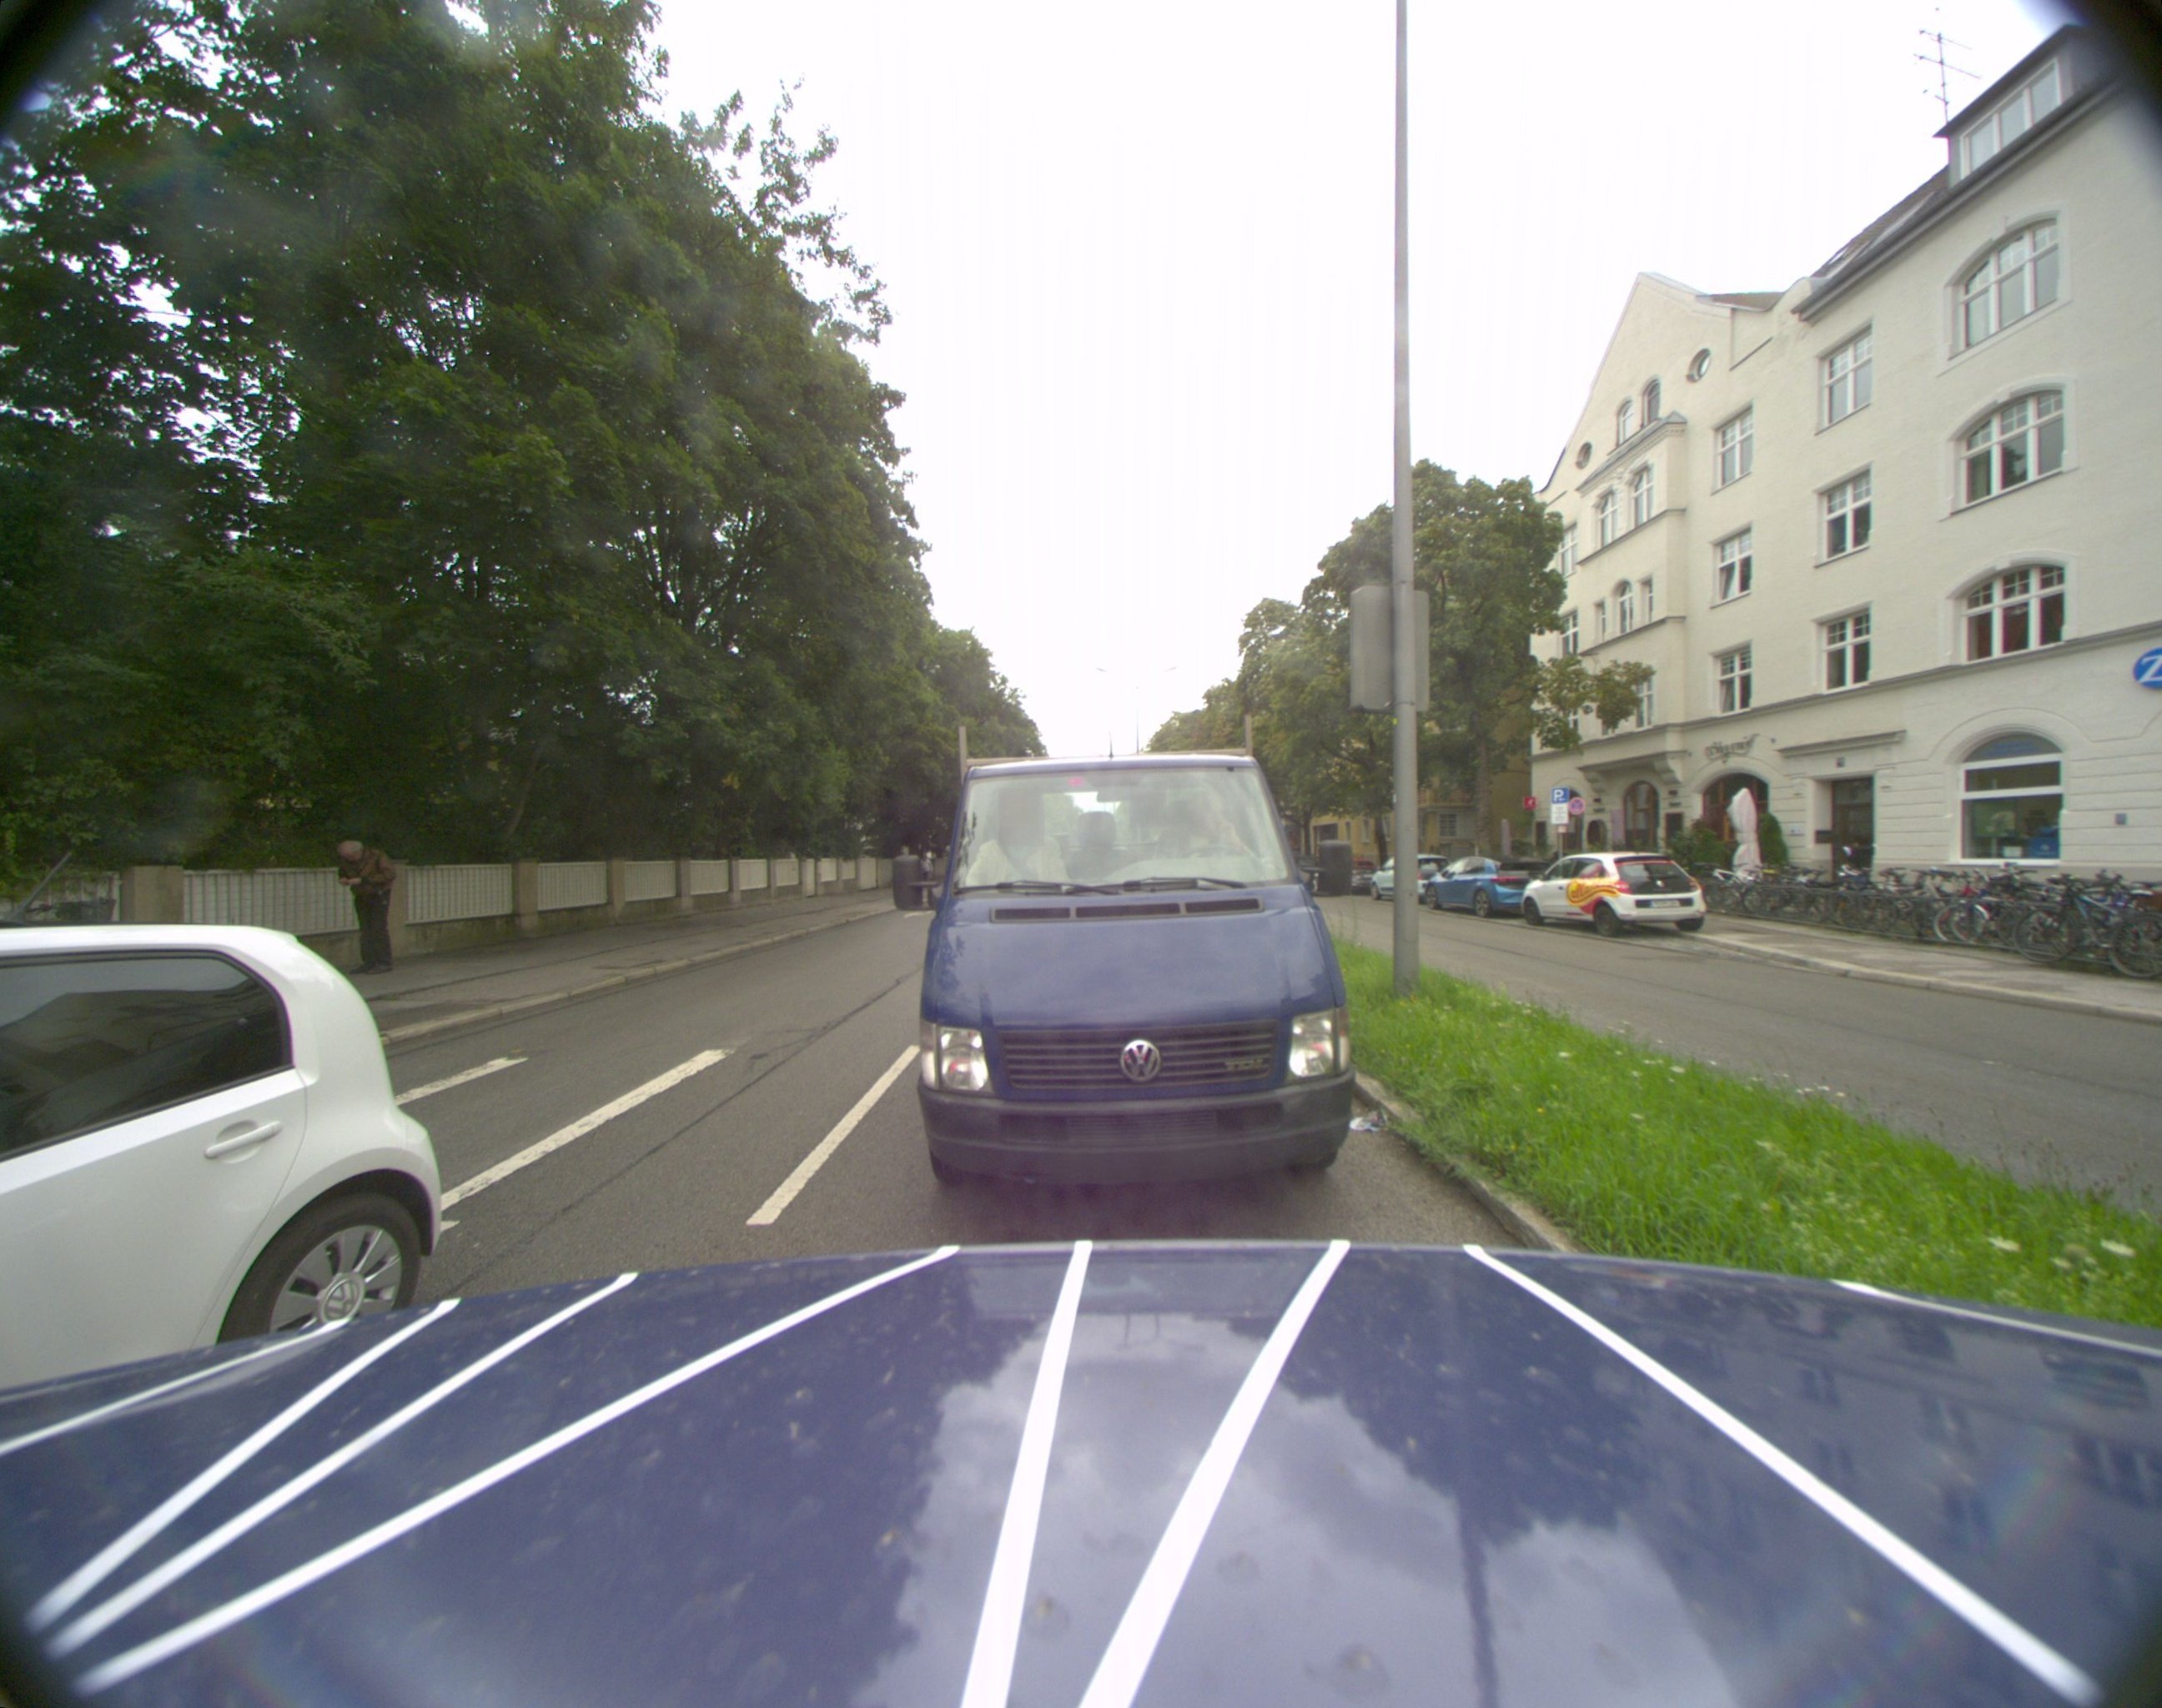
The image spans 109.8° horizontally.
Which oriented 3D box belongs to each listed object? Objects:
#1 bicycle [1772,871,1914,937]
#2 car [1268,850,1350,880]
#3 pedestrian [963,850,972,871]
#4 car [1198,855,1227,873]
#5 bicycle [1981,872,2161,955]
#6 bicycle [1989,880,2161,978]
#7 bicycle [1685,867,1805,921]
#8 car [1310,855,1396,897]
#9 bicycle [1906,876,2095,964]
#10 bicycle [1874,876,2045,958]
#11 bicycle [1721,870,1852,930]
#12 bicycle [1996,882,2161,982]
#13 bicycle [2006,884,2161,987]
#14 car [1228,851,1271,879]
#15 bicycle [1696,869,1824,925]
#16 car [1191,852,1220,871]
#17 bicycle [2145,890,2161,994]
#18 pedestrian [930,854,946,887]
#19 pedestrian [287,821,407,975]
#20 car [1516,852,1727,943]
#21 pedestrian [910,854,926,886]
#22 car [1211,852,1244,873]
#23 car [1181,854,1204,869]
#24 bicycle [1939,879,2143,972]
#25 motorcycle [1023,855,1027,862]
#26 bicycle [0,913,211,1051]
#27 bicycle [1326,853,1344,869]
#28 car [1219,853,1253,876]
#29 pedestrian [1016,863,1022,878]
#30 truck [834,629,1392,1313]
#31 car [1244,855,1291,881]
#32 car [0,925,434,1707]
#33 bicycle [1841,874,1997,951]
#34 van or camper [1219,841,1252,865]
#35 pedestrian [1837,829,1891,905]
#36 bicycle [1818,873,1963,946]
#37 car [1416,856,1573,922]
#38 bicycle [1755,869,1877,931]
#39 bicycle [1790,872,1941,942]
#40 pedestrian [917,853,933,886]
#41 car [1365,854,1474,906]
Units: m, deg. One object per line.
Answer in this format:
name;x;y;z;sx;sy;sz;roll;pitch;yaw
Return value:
bicycle;14.012;0.883;14.048;0.331;1.109;1.871;-1;0;-23
car;12.345;0.607;41.297;3.899;1.455;1.732;-2;0;-1
pedestrian;-8.569;0.473;57.324;0.529;1.572;0.729;1;1;0
car;10.974;0.785;63.831;1.731;1.398;4.363;-1;0;1
bicycle;14.774;0.844;11.364;0.331;1.109;1.678;-1;0;-23
bicycle;12.693;0.909;9.509;0.367;1.109;1.678;-1;0;-23
bicycle;14.701;0.853;16.890;0.460;1.109;1.961;-1;0;-31
car;10.790;0.807;30.519;1.815;1.498;4.645;-1;0;1
bicycle;13.038;0.896;10.841;0.383;1.109;1.678;-1;0;-23
bicycle;13.231;0.914;11.508;0.331;1.109;1.678;-1;0;-23
bicycle;14.314;0.909;15.482;0.550;1.109;1.877;-1;0;-31
bicycle;12.391;0.921;9.187;0.331;1.109;1.678;-1;0;-23
bicycle;12.110;0.934;8.836;0.368;1.109;1.678;-1;0;-23
car;11.105;0.677;50.244;1.815;1.718;4.767;-1;0;1
bicycle;14.461;0.885;16.252;0.505;1.109;1.984;-1;0;-31
car;11.347;0.668;69.638;1.883;1.636;4.770;-1;0;1
bicycle;12.101;0.956;7.589;0.331;1.109;1.678;-1;0;-23
pedestrian;-7.614;0.879;40.462;0.668;1.695;0.766;1;1;0
pedestrian;-9.611;0.555;9.980;0.779;1.931;0.802;0;1;1
car;10.606;0.756;15.273;1.653;1.576;3.790;-1;0;2
pedestrian;-8.651;0.843;40.291;0.668;1.695;0.766;1;1;0
car;11.306;0.646;58.834;1.731;1.552;4.057;-1;0;1
car;11.105;0.742;75.720;1.696;1.446;4.492;-1;0;1
bicycle;12.853;0.911;10.245;0.331;1.109;1.678;-1;0;-23
motorcycle;-8.914;0.717;121.527;0.497;1.135;1.631;-1;0;-10
bicycle;-9.843;1.197;7.296;0.624;1.084;2.026;-1;0;0
bicycle;19.334;0.542;57.887;0.771;1.215;1.930;-1;0;0
car;11.191;0.748;54.959;1.731;1.549;3.009;-1;0;-1
pedestrian;-6.692;1.753;81.877;0.529;1.572;0.729;1;1;0
truck;0.159;0.429;5.345;1.998;2.475;5.151;-1;0;1
car;10.960;0.786;44.838;1.731;1.394;4.404;-1;0;1
car;-2.997;1.032;0.733;1.647;1.553;3.586;-1;0;0
bicycle;13.430;0.899;12.247;0.331;1.109;1.678;-1;0;-23
van or camper;17.096;-0.099;84.609;2.351;2.564;6.851;-1;0;1
pedestrian;17.027;0.279;16.538;0.422;1.622;0.783;-1;1;7
bicycle;13.629;0.902;12.857;0.331;1.109;1.678;-1;0;-23
car;10.633;0.826;19.931;1.815;1.498;4.291;-1;0;1
bicycle;14.216;0.865;14.751;0.331;1.109;1.677;-1;0;-27
bicycle;13.825;0.899;13.470;0.331;1.109;1.871;-1;0;-23
pedestrian;-8.286;0.815;40.444;0.668;1.695;0.766;1;1;0
car;10.875;0.770;24.719;1.815;1.498;3.960;-1;0;1
